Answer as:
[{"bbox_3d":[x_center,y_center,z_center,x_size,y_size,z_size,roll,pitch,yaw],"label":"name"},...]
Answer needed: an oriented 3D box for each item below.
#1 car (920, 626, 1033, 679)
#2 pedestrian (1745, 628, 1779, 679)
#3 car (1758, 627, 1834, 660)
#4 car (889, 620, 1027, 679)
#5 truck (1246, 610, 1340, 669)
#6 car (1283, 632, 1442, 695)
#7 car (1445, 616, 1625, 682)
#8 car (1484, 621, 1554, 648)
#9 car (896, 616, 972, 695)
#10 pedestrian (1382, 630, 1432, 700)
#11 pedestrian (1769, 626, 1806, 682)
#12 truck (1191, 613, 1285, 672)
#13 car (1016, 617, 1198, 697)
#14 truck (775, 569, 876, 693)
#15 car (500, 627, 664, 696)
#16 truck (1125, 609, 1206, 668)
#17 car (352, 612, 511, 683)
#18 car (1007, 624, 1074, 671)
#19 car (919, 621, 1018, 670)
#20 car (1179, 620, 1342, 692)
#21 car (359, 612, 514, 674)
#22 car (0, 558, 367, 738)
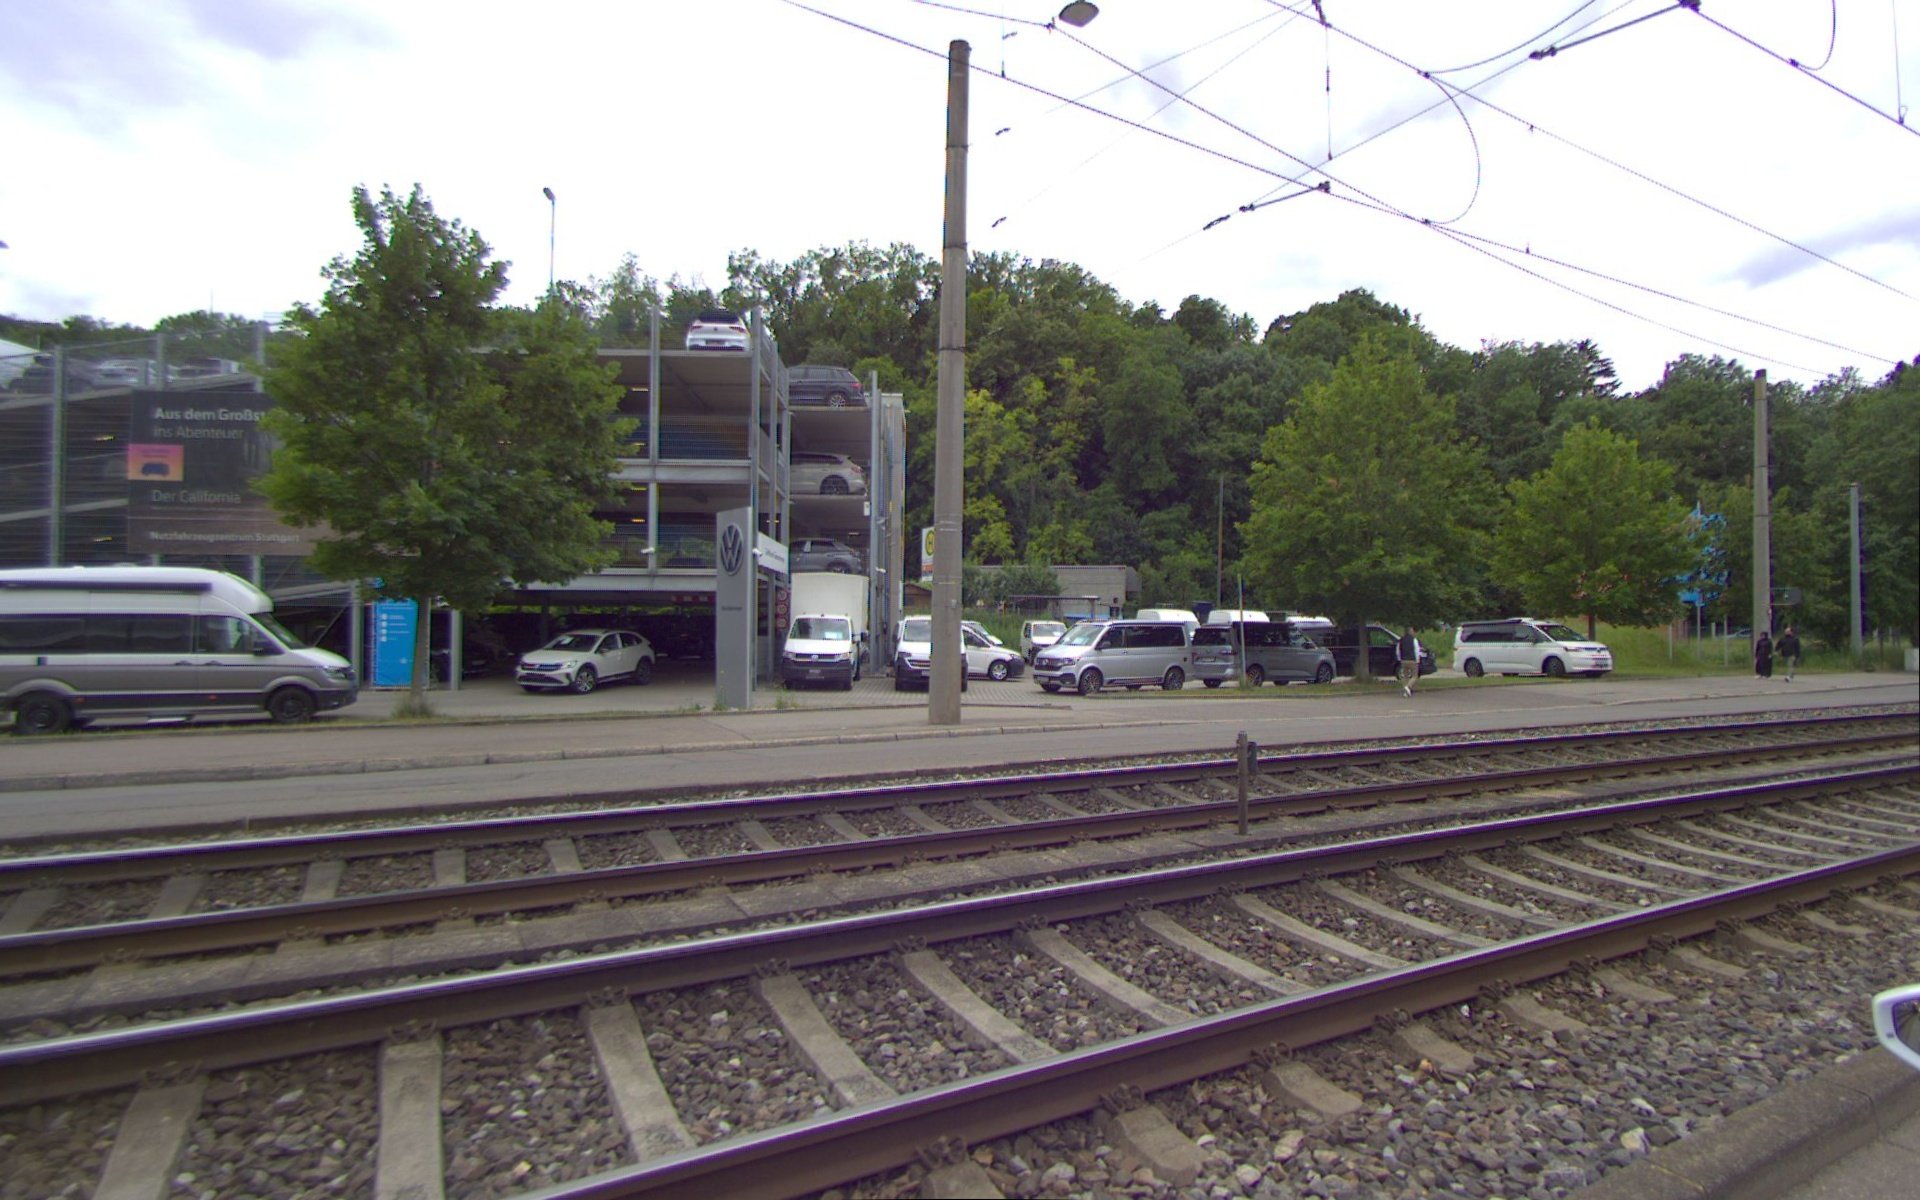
[{"bbox_3d":[0.661,2.064,39.979,4.379,2.039,2.000,0,-2,0],"label":"car"},{"bbox_3d":[27.685,1.832,34.671,0.844,1.736,0.625,1,0,-27],"label":"pedestrian"},{"bbox_3d":[46.746,2.408,56.154,3.952,1.773,1.985,1,-2,-29],"label":"car"},{"bbox_3d":[-0.116,1.616,32.786,4.381,1.855,1.999,0,-2,-4],"label":"car"},{"bbox_3d":[15.642,1.840,47.524,2.421,2.622,5.070,0,-2,-5],"label":"truck"},{"bbox_3d":[13.898,2.124,34.806,4.975,2.040,2.165,-1,-2,24],"label":"car"},{"bbox_3d":[19.140,1.577,33.755,2.133,1.913,5.049,1,0,-20],"label":"car"},{"bbox_3d":[43.313,2.662,77.893,4.315,2.040,2.001,1,-1,1],"label":"car"},{"bbox_3d":[-0.764,1.506,28.177,1.961,2.040,4.730,0,-2,-3],"label":"car"},{"bbox_3d":[11.224,1.604,25.213,1.033,1.678,0.712,1,1,-37],"label":"pedestrian"},{"bbox_3d":[27.959,1.803,33.947,0.844,1.837,0.674,1,0,-27],"label":"pedestrian"},{"bbox_3d":[12.938,1.964,47.272,2.421,2.622,5.775,0,-2,-5],"label":"truck"},{"bbox_3d":[4.084,1.521,27.572,4.865,2.040,1.983,1,-2,-32],"label":"car"},{"bbox_3d":[-3.649,0.878,28.406,2.078,3.125,5.940,0,-2,0],"label":"truck"},{"bbox_3d":[-9.668,1.533,26.086,1.960,1.639,4.138,0,-2,14],"label":"car"},{"bbox_3d":[9.597,1.786,47.290,2.421,2.622,5.070,0,-2,-5],"label":"truck"},{"bbox_3d":[-15.160,1.325,28.850,3.923,1.929,1.999,-1,-2,23],"label":"car"},{"bbox_3d":[3.627,2.146,46.152,1.947,2.040,4.257,1,-2,-12],"label":"car"},{"bbox_3d":[0.359,1.981,45.036,4.216,2.040,1.990,0,0,42],"label":"car"},{"bbox_3d":[9.291,1.675,30.913,5.072,2.040,1.983,1,-2,-32],"label":"car"},{"bbox_3d":[-17.404,1.409,33.467,4.416,1.929,1.982,1,-2,-33],"label":"car"},{"bbox_3d":[-14.728,0.881,19.040,5.863,3.059,2.099,1,-2,-28],"label":"car"}]
